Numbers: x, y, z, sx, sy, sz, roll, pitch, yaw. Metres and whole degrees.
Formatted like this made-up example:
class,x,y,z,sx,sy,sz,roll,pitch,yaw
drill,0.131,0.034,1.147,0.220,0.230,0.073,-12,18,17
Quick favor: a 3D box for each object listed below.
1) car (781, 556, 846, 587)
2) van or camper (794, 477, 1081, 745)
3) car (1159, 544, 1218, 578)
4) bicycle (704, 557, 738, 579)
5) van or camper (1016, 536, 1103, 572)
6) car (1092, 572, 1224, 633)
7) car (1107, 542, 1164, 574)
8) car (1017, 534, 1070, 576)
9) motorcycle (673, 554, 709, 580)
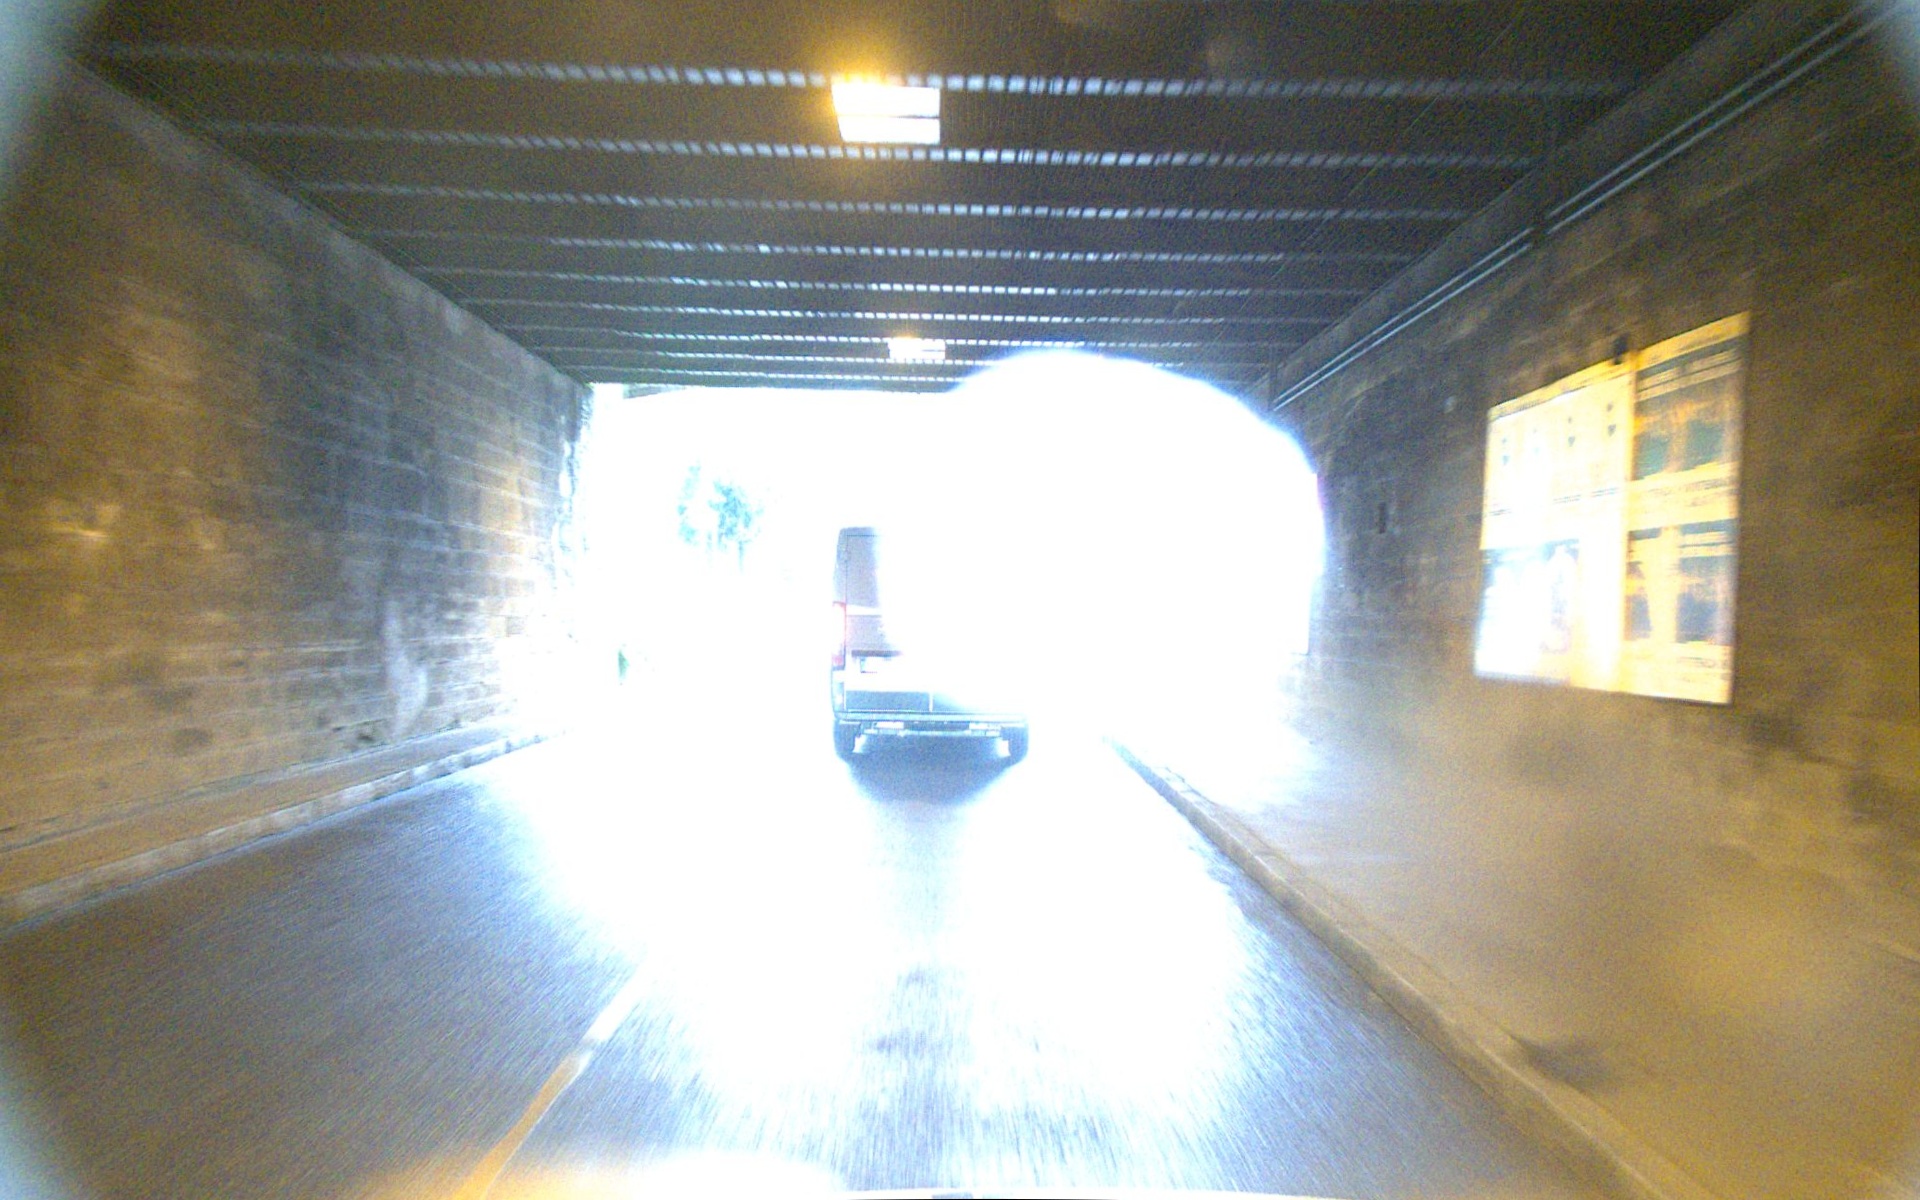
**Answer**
class,x,y,z,sx,sy,sz,roll,pitch,yaw
car,-8.356,-1.628,94.821,1.954,1.718,3.997,1,0,26
van or camper,-0.198,0.141,17.823,2.643,2.459,4.902,1,-1,0
car,11.270,-1.915,81.854,1.956,1.566,3.994,1,0,-7
bicycle,-13.459,-1.800,93.033,0.908,1.148,2.291,1,0,20
van or camper,6.107,-2.794,100.848,5.196,2.049,2.079,1,0,5
car,5.051,0.066,41.797,1.802,1.463,4.093,0,0,31
car,8.700,-2.061,82.393,1.956,1.512,3.994,1,0,-7
car,4.099,-2.206,81.671,1.956,1.982,3.994,1,0,-7
motorcycle,-15.163,-1.848,93.163,1.948,1.447,0.658,1,0,-5
